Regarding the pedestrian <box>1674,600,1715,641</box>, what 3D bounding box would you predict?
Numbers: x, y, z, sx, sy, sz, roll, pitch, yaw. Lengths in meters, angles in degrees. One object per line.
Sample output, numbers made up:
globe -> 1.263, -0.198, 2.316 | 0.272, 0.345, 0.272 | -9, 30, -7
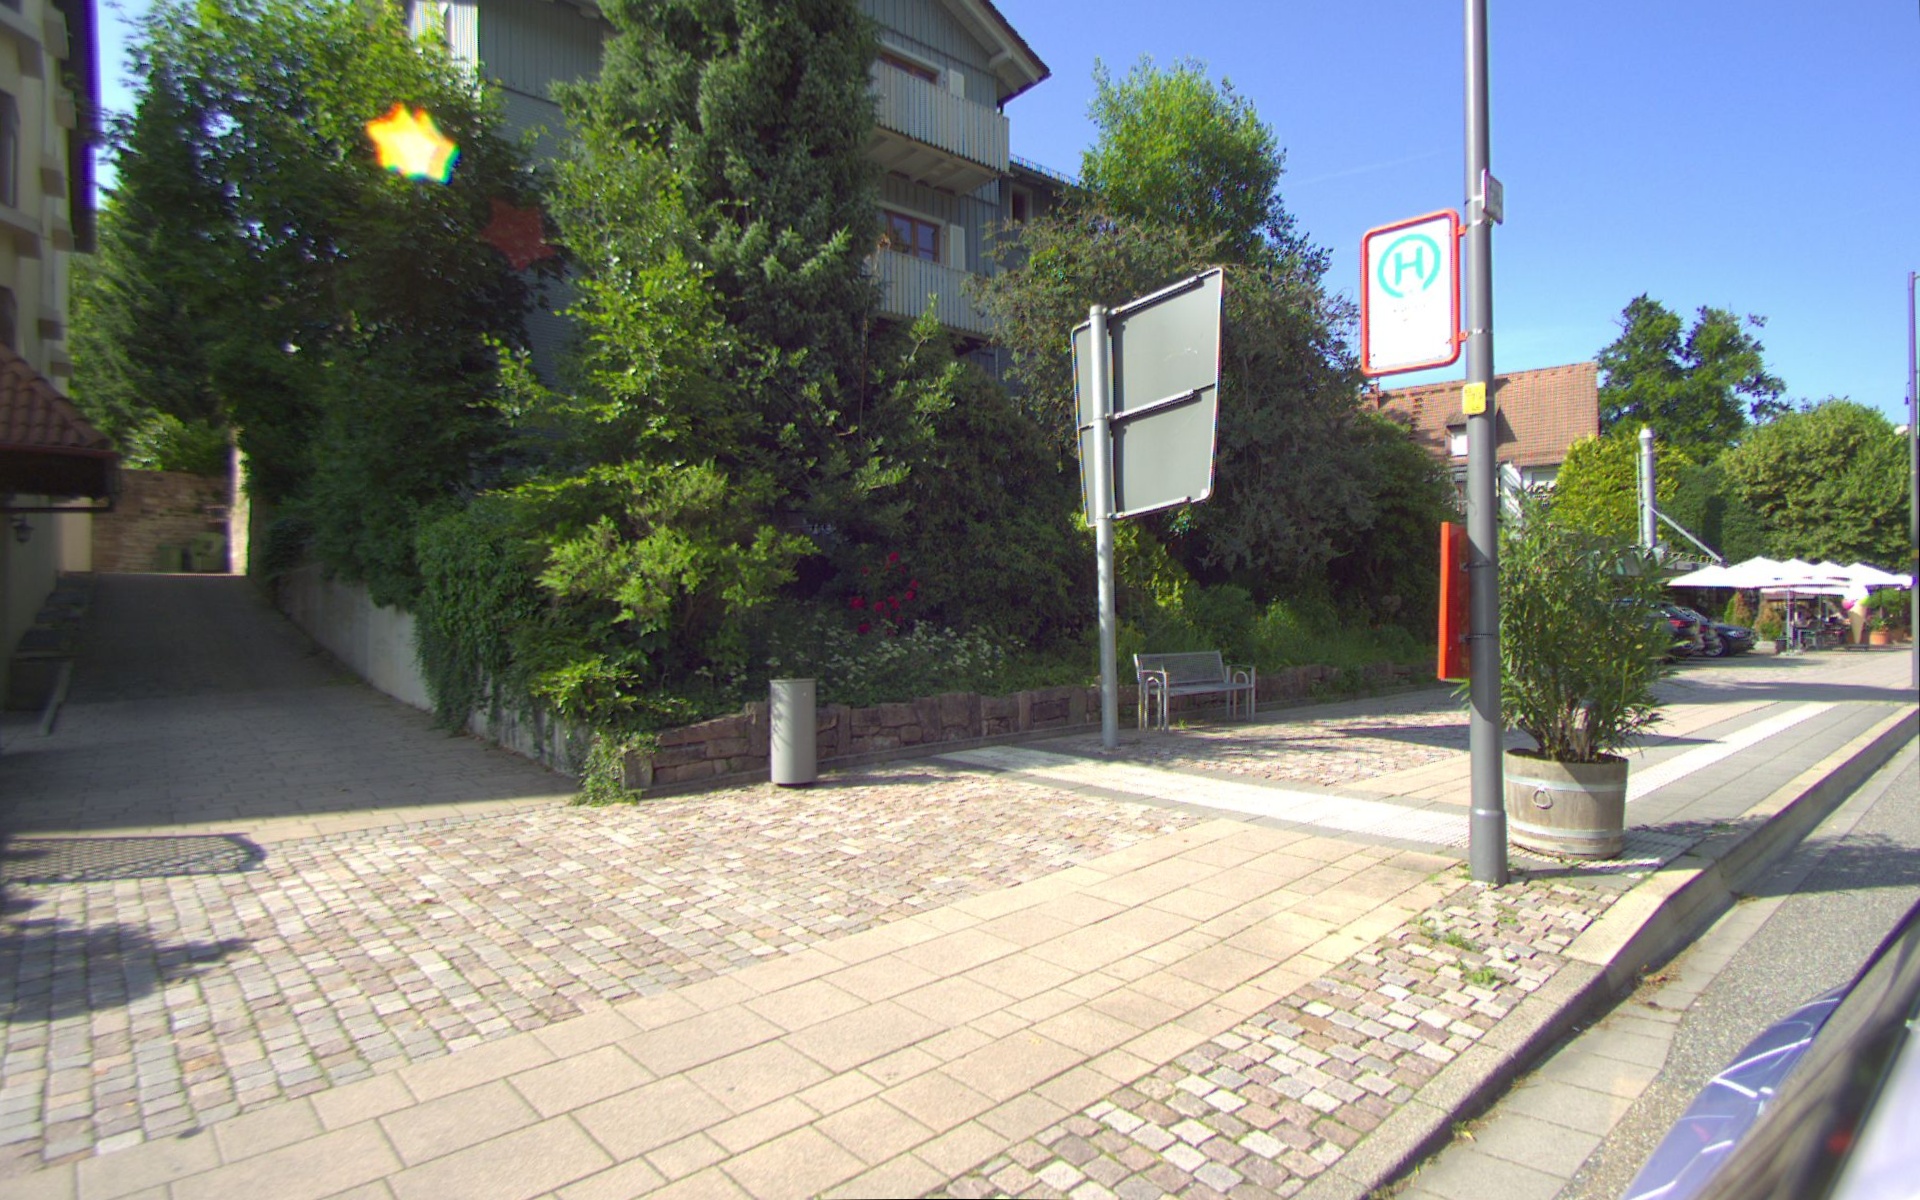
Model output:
pedestrian -> 23.564, 0.660, 32.487 | 0.795, 1.277, 0.702 | 0, -1, -14

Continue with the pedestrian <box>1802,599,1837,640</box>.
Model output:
pedestrian -> 27.358, 0.614, 32.220 | 0.809, 1.277, 0.690 | -1, -1, 42

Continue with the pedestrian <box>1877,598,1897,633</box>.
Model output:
pedestrian -> 33.813, 0.568, 36.918 | 0.470, 1.261, 0.586 | 0, 0, 34

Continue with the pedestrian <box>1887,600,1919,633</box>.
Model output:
pedestrian -> 38.169, 0.668, 40.937 | 0.634, 1.300, 0.949 | 0, -1, -41

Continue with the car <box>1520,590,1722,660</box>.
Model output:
car -> 16.288, 0.594, 25.075 | 1.719, 1.600, 3.878 | 0, -1, -43

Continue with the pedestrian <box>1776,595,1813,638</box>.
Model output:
pedestrian -> 27.794, 0.546, 33.712 | 0.692, 1.399, 0.807 | -1, -1, 20

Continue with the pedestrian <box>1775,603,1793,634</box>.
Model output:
pedestrian -> 33.850, 0.755, 41.569 | 0.498, 1.284, 0.410 | 0, -1, -29

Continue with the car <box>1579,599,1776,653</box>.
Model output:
car -> 20.362, 0.712, 28.876 | 1.678, 1.396, 4.271 | -1, -1, -39

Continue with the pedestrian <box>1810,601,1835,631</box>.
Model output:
pedestrian -> 36.293, 0.650, 42.592 | 0.685, 1.247, 0.509 | 0, -1, -20

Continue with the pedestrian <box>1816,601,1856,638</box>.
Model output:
pedestrian -> 30.830, 0.687, 35.609 | 0.686, 1.277, 0.814 | 0, -1, -21

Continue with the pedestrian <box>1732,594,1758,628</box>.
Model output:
pedestrian -> 30.575, 0.416, 39.418 | 0.629, 1.321, 0.578 | 0, 0, 14

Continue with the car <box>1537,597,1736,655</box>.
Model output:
car -> 18.124, 0.683, 27.259 | 1.717, 1.433, 4.118 | -1, -1, -39
